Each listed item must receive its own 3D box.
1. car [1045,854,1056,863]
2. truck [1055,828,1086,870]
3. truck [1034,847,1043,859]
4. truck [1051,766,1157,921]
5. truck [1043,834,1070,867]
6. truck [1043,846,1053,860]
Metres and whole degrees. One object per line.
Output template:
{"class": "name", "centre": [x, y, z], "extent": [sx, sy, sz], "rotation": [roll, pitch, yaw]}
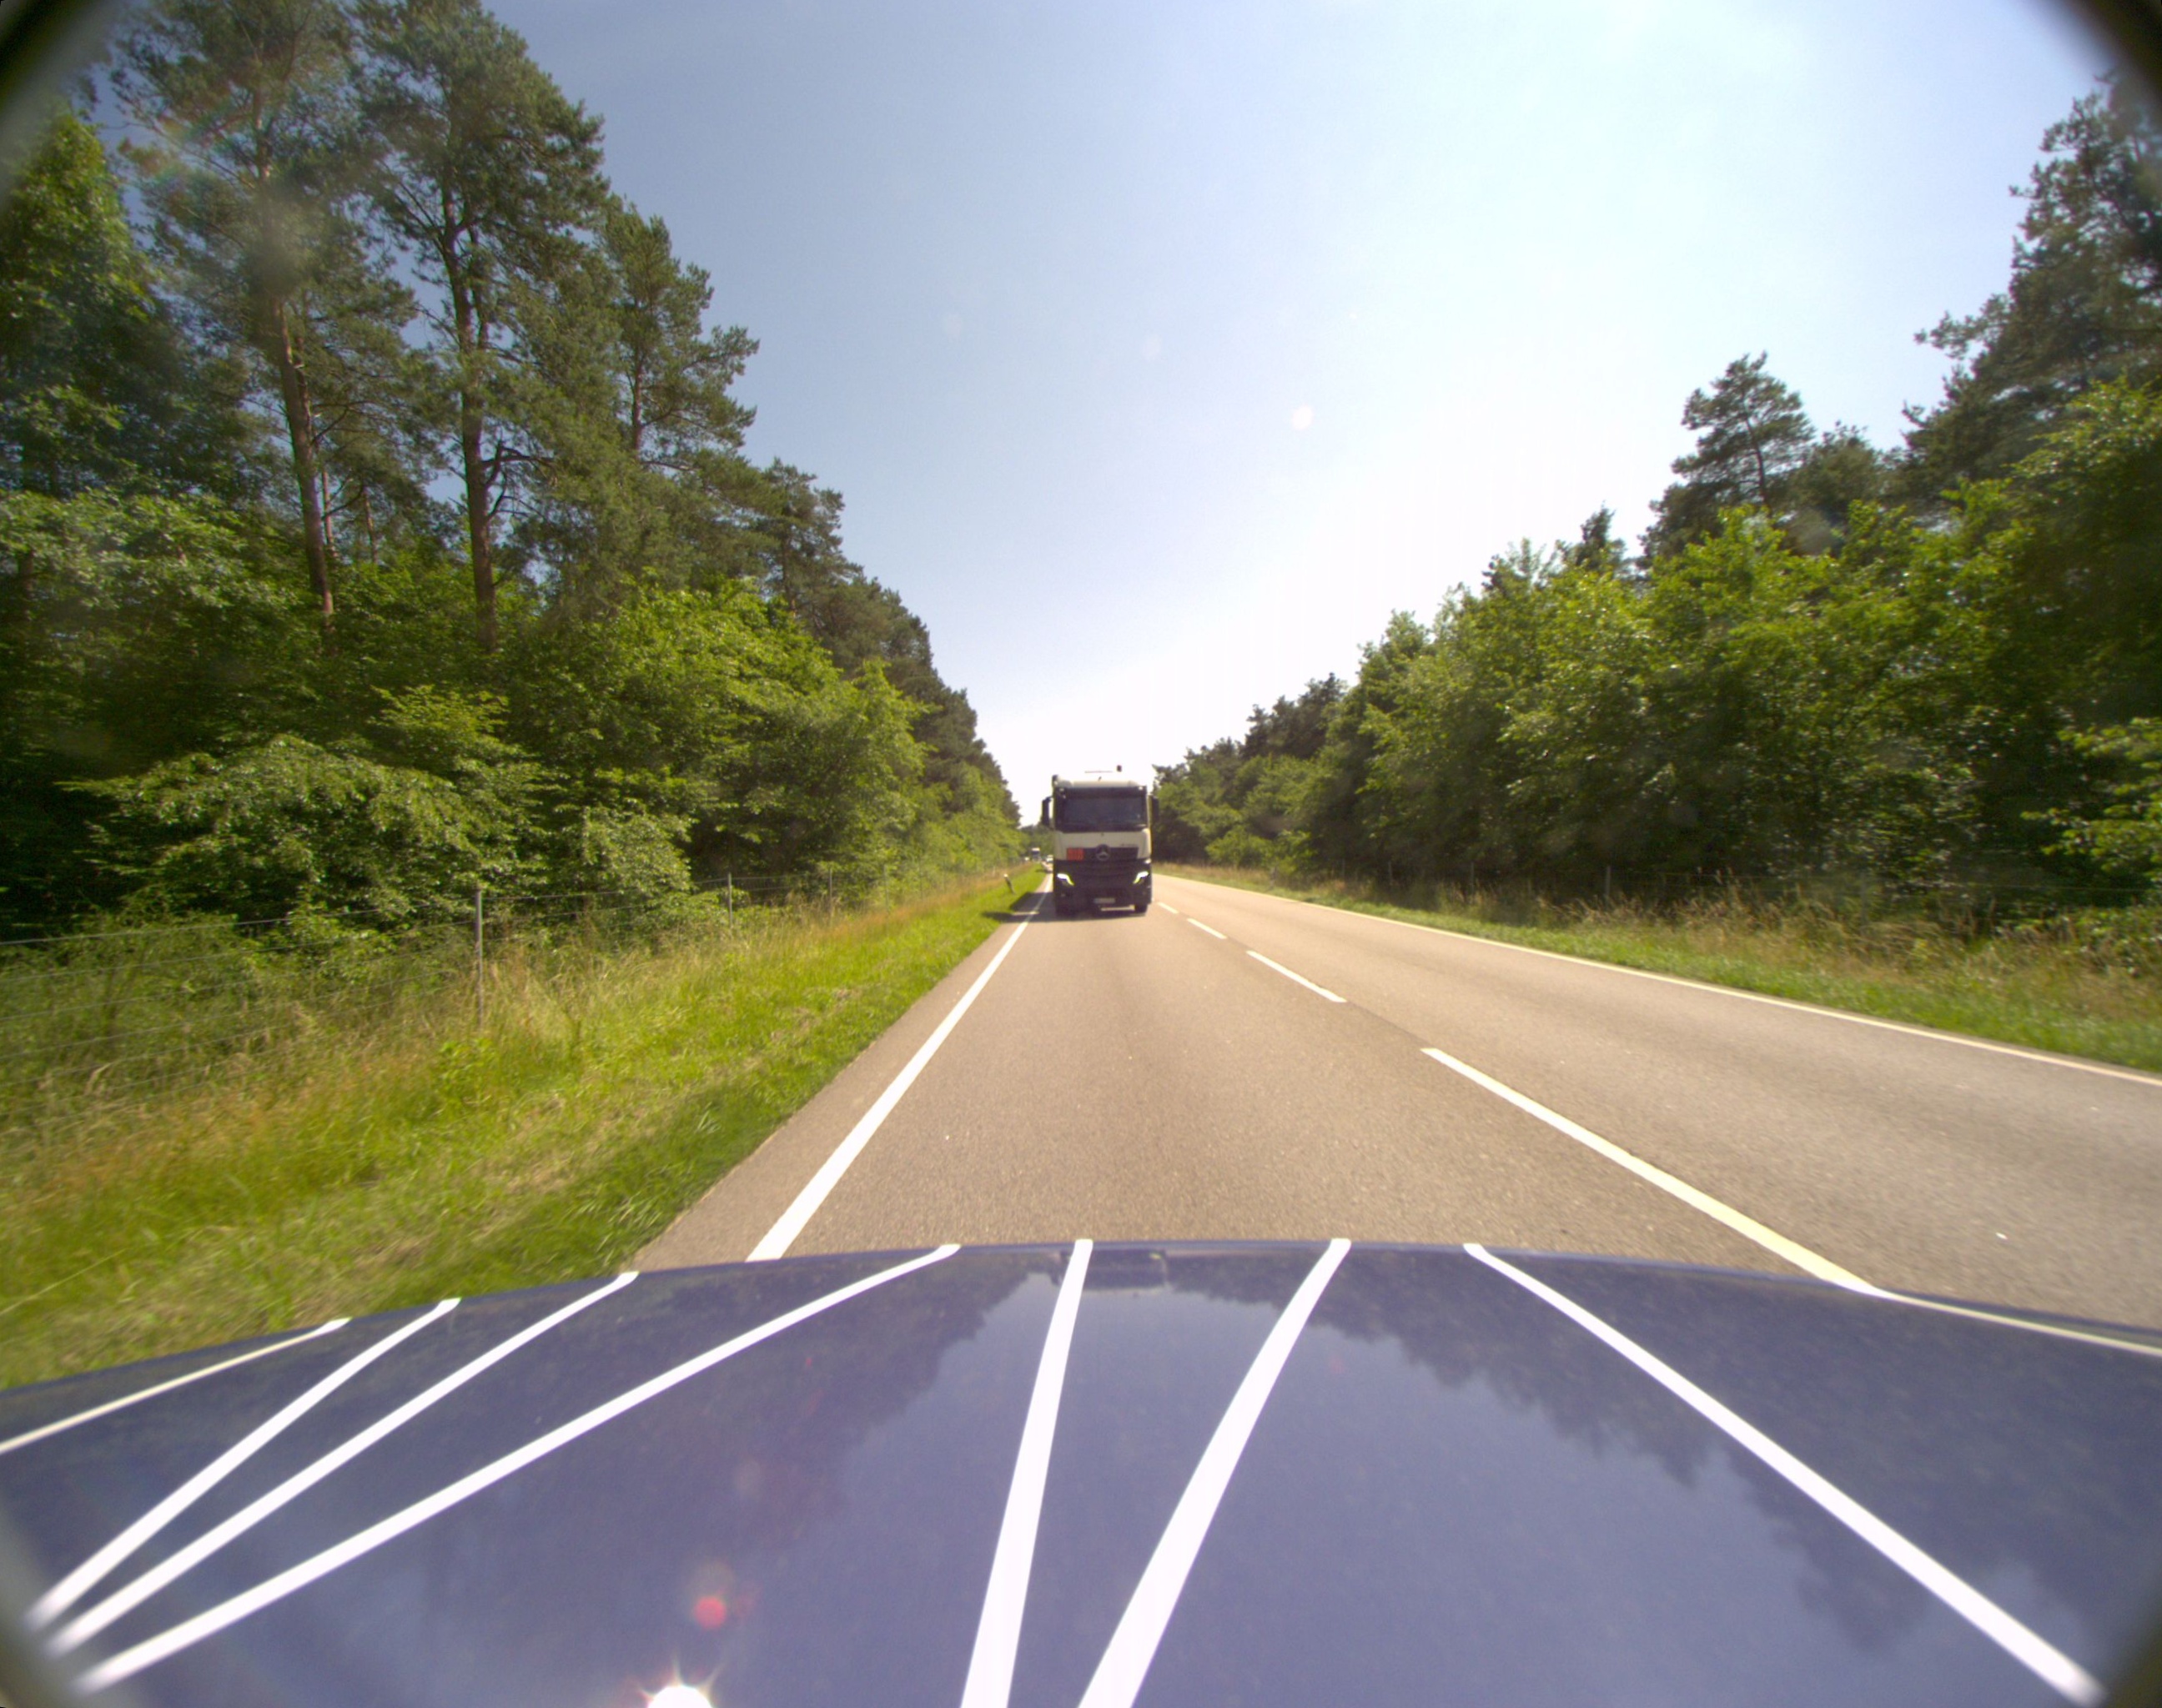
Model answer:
{"class": "car", "centre": [-5.406, 0.797, 136.701], "extent": [1.885, 1.462, 3.999], "rotation": [-2, 0, -2]}
{"class": "truck", "centre": [-1.070, -0.469, 70.768], "extent": [2.495, 3.698, 6.222], "rotation": [1, 0, -4]}
{"class": "truck", "centre": [-13.055, -0.259, 233.445], "extent": [2.495, 3.619, 6.100], "rotation": [-3, 0, -5]}
{"class": "truck", "centre": [0.459, -0.238, 21.649], "extent": [2.435, 3.672, 6.456], "rotation": [-2, 0, -2]}
{"class": "truck", "centre": [-2.642, -0.336, 80.069], "extent": [2.495, 3.316, 6.222], "rotation": [1, 0, -4]}
{"class": "truck", "centre": [-8.412, -0.215, 193.137], "extent": [2.495, 3.619, 6.101], "rotation": [-1, 0, -4]}
